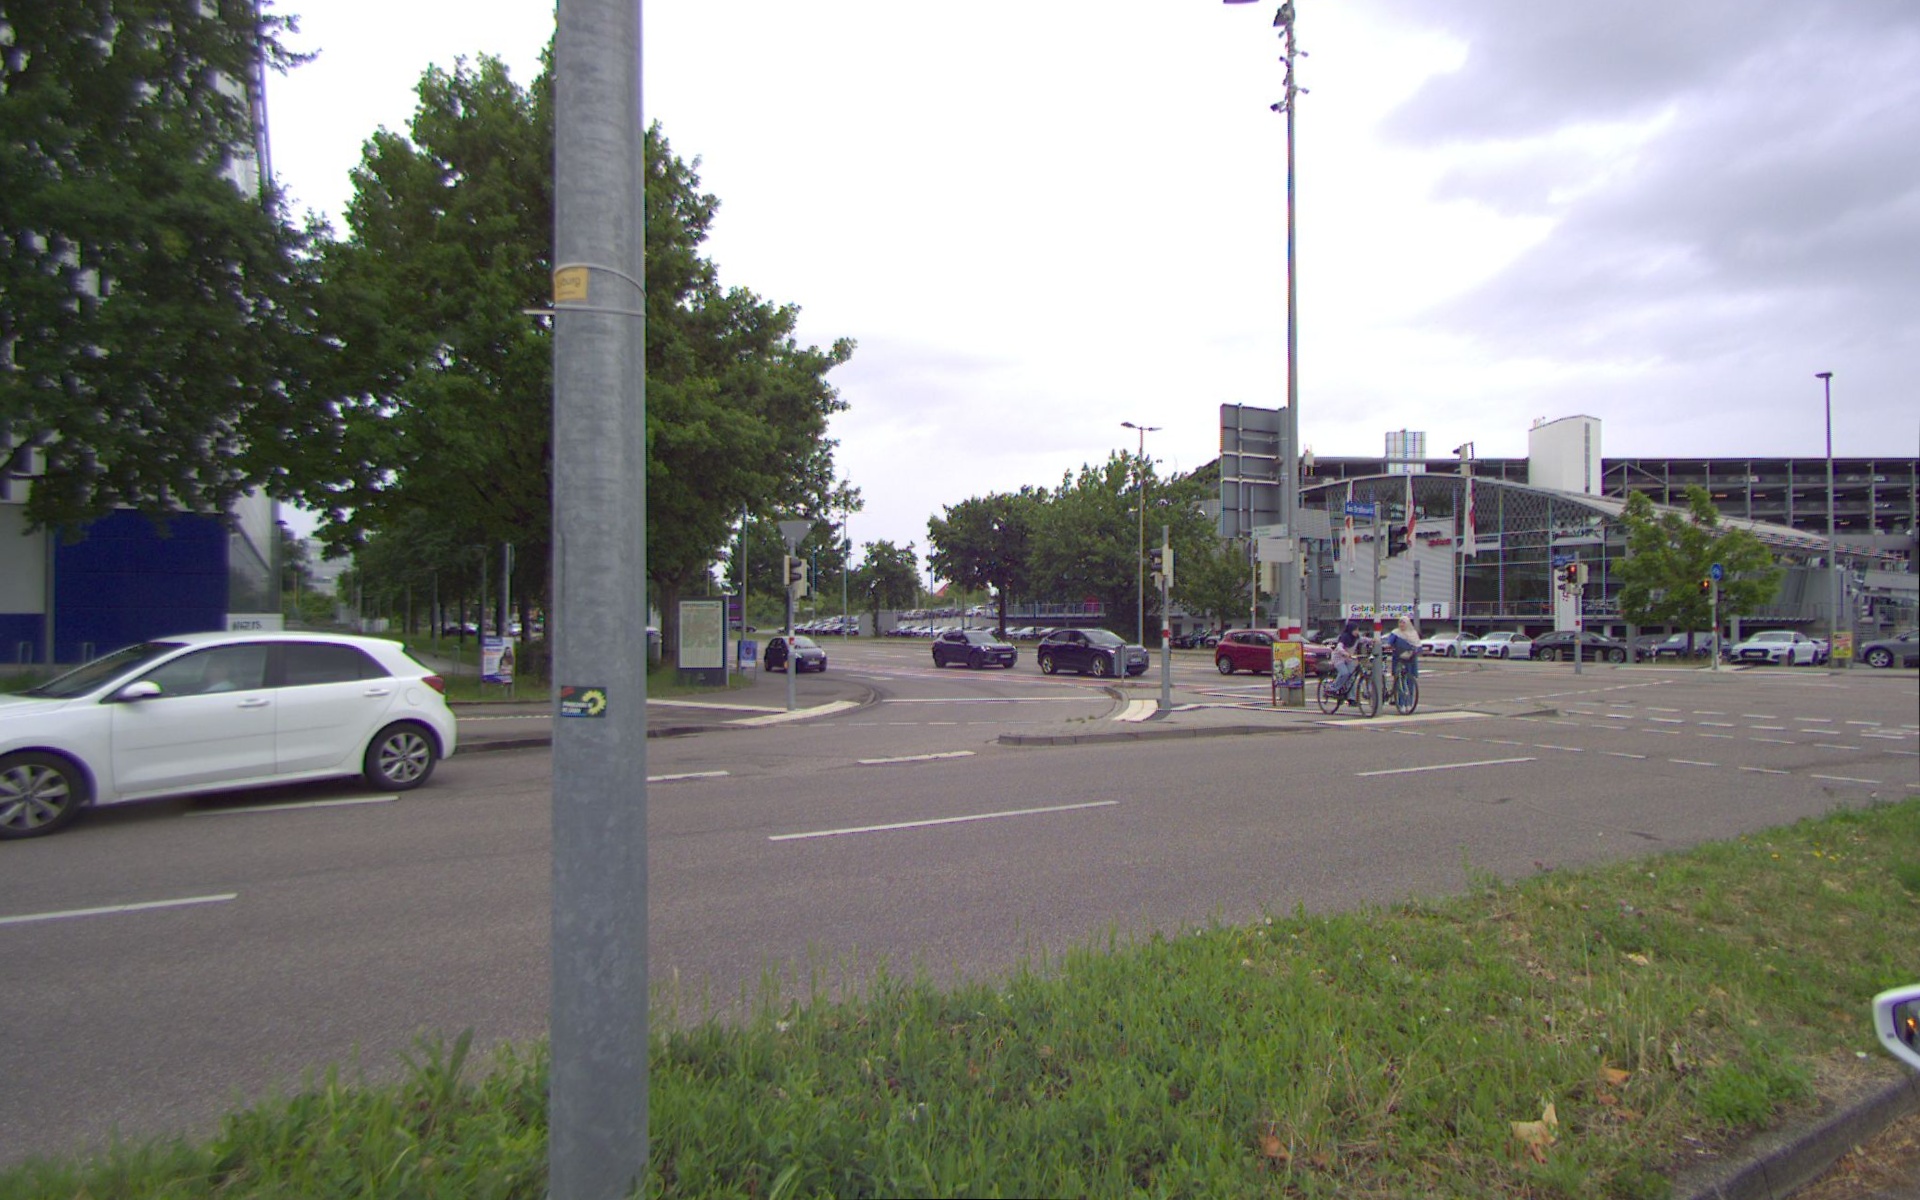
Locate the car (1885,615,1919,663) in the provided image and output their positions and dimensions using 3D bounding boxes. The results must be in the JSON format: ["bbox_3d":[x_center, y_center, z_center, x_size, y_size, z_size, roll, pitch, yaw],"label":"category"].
[{"bbox_3d":[42.134,1.621,41.768,2.243,2.040,4.993,2,-4,-34],"label":"car"}]

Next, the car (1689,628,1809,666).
[{"bbox_3d":[42.937,2.540,54.804,1.978,1.965,4.776,1,-2,-32],"label":"car"}]

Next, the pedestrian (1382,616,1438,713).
[{"bbox_3d":[7.813,1.124,17.474,0.628,1.647,0.693,-1,-4,3],"label":"pedestrian"}]

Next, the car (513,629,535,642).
[{"bbox_3d":[-54.231,4.375,124.831,1.843,1.481,4.292,-1,0,-33],"label":"car"}]

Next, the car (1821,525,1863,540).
[{"bbox_3d":[114.111,-8.707,129.973,1.960,1.689,4.001,1,0,2],"label":"car"}]

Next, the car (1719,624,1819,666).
[{"bbox_3d":[31.876,1.779,39.554,4.185,1.505,1.858,3,-4,-33],"label":"car"}]

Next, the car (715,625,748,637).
[{"bbox_3d":[-30.168,4.071,132.534,3.949,1.455,1.718,2,0,-27],"label":"car"}]

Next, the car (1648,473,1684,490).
[{"bbox_3d":[91.657,-15.338,130.530,1.960,1.689,4.001,1,0,2],"label":"car"}]

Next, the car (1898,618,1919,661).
[{"bbox_3d":[44.167,1.690,43.457,2.034,1.900,4.914,2,-4,-35],"label":"car"}]

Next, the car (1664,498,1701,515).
[{"bbox_3d":[93.802,-12.112,130.487,1.960,1.689,4.001,1,0,2],"label":"car"}]

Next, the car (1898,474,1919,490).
[{"bbox_3d":[124.314,-15.374,130.174,1.960,1.689,4.001,1,0,2],"label":"car"}]

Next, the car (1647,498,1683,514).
[{"bbox_3d":[91.519,-12.189,130.470,1.960,1.689,4.001,1,0,2],"label":"car"}]

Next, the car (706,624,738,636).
[{"bbox_3d":[-32.019,3.982,135.089,3.949,1.455,1.718,2,0,-27],"label":"car"}]

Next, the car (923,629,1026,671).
[{"bbox_3d":[0.521,1.998,40.878,1.867,1.565,4.554,-1,-1,-35],"label":"car"}]

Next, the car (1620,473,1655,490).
[{"bbox_3d":[88.481,-15.441,131.226,1.960,1.689,4.001,1,0,2],"label":"car"}]

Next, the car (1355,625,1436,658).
[{"bbox_3d":[22.862,2.193,52.704,4.188,1.505,1.855,5,-3,-33],"label":"car"}]

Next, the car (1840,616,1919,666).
[{"bbox_3d":[37.448,1.584,38.855,1.979,1.887,4.744,2,-4,-34],"label":"car"}]

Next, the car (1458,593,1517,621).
[{"bbox_3d":[34.604,0.446,65.894,3.960,1.684,1.807,2,0,-35],"label":"car"}]

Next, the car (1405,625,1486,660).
[{"bbox_3d":[24.362,2.136,50.408,4.002,1.505,1.860,5,-3,-33],"label":"car"}]

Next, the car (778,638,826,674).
[{"bbox_3d":[-6.668,2.310,42.112,1.698,1.389,3.990,0,-2,-14],"label":"car"}]

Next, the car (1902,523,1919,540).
[{"bbox_3d":[126.630,-9.052,131.167,2.167,1.971,5.331,1,0,-1],"label":"car"}]

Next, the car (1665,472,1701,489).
[{"bbox_3d":[94.026,-15.474,130.700,1.960,1.689,4.001,1,0,2],"label":"car"}]

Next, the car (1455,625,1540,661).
[{"bbox_3d":[25.887,2.077,48.346,4.154,1.505,1.836,5,-3,-33],"label":"car"}]

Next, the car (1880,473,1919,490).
[{"bbox_3d":[122.008,-15.368,130.200,1.960,1.689,4.001,1,0,2],"label":"car"}]

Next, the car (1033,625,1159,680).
[{"bbox_3d":[4.605,1.758,34.607,1.867,1.659,4.292,-3,0,-35],"label":"car"}]

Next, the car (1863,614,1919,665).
[{"bbox_3d":[39.584,1.586,40.238,1.979,2.040,4.674,2,-4,-33],"label":"car"}]

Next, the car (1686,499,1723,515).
[{"bbox_3d":[96.405,-12.026,130.165,1.960,1.689,4.001,1,0,2],"label":"car"}]

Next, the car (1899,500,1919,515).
[{"bbox_3d":[124.098,-12.004,129.737,1.960,1.689,4.001,1,0,2],"label":"car"}]

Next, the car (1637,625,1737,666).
[{"bbox_3d":[30.361,1.922,41.910,4.473,1.505,2.050,5,-5,-35],"label":"car"}]

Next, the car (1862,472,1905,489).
[{"bbox_3d":[119.311,-15.420,129.835,1.960,1.689,4.001,1,0,2],"label":"car"}]

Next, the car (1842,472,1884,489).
[{"bbox_3d":[116.691,-15.425,129.880,1.960,1.689,4.001,1,0,2],"label":"car"}]

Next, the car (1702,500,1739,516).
[{"bbox_3d":[98.591,-11.956,130.269,1.960,1.689,4.001,1,0,2],"label":"car"}]

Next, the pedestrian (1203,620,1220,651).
[{"bbox_3d":[15.767,2.204,62.985,0.667,1.895,0.712,3,-3,-34],"label":"pedestrian"}]

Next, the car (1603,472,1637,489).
[{"bbox_3d":[86.087,-15.524,131.119,1.960,1.689,4.001,1,0,2],"label":"car"}]

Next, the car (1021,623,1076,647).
[{"bbox_3d":[6.934,2.739,78.537,4.037,1.505,1.801,7,-3,-34],"label":"car"}]

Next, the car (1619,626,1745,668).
[{"bbox_3d":[36.138,2.300,50.419,1.978,1.965,4.776,1,-2,-32],"label":"car"}]

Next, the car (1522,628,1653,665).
[{"bbox_3d":[28.247,2.072,45.357,1.873,1.505,4.713,4,-4,-32],"label":"car"}]

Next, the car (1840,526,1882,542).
[{"bbox_3d":[116.721,-8.541,130.211,1.960,1.689,4.001,1,0,2],"label":"car"}]

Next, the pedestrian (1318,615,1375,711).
[{"bbox_3d":[6.515,1.061,16.950,0.642,1.569,0.649,2,-2,-7],"label":"pedestrian"}]
